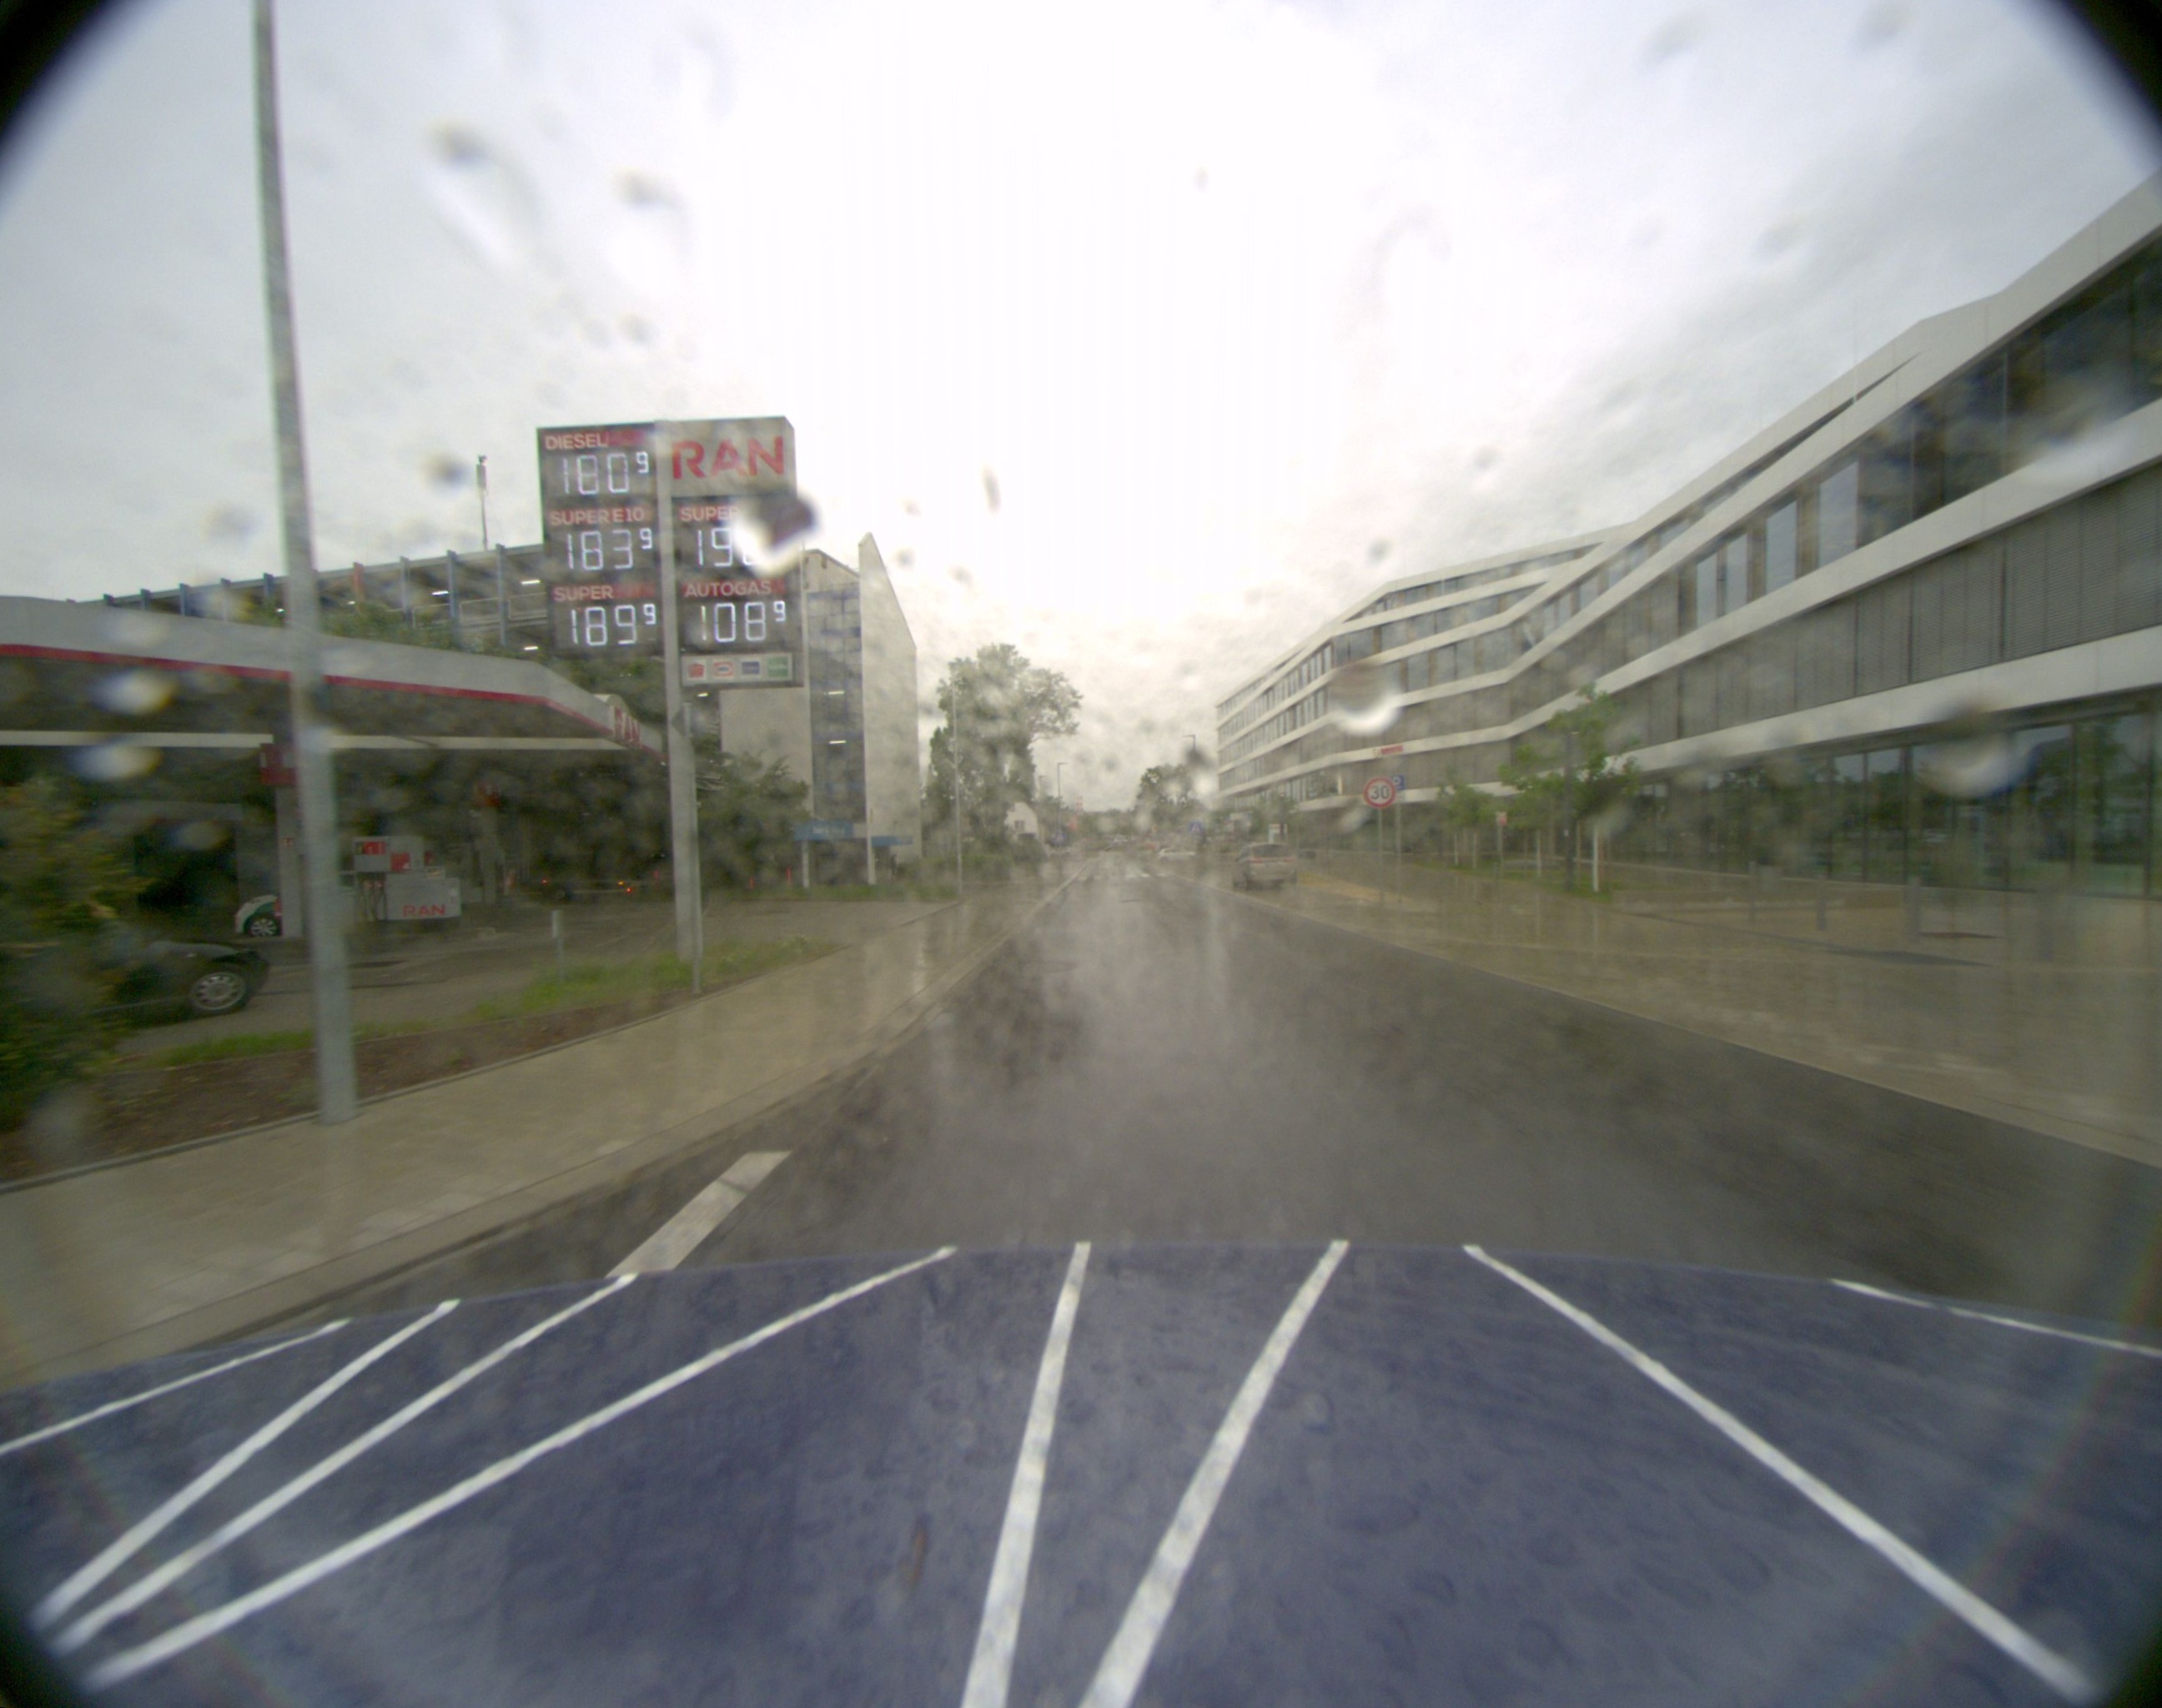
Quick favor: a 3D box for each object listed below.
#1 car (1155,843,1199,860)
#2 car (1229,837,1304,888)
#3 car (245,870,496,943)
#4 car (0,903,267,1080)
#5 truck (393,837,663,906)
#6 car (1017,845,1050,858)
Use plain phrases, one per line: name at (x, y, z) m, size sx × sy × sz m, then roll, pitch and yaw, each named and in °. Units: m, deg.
car at (9.257, -0.265, 73.529) m, size 4.166 × 1.411 × 2.000 m, roll -4°, pitch 1°, yaw 6°
car at (6.721, 0.260, 27.990) m, size 1.841 × 1.696 × 4.323 m, roll -2°, pitch 1°, yaw 3°
car at (-16.968, 1.203, 18.393) m, size 4.002 × 1.419 × 1.773 m, roll -2°, pitch 1°, yaw -16°
car at (-10.152, 1.293, 6.681) m, size 1.694 × 1.332 × 4.336 m, roll -2°, pitch 1°, yaw -9°
truck at (-18.336, 0.581, 25.526) m, size 7.297 × 2.193 × 2.085 m, roll 0°, pitch -1°, yaw -5°
car at (-5.878, -0.290, 94.990) m, size 3.998 × 1.445 × 1.868 m, roll -2°, pitch 1°, yaw -2°
